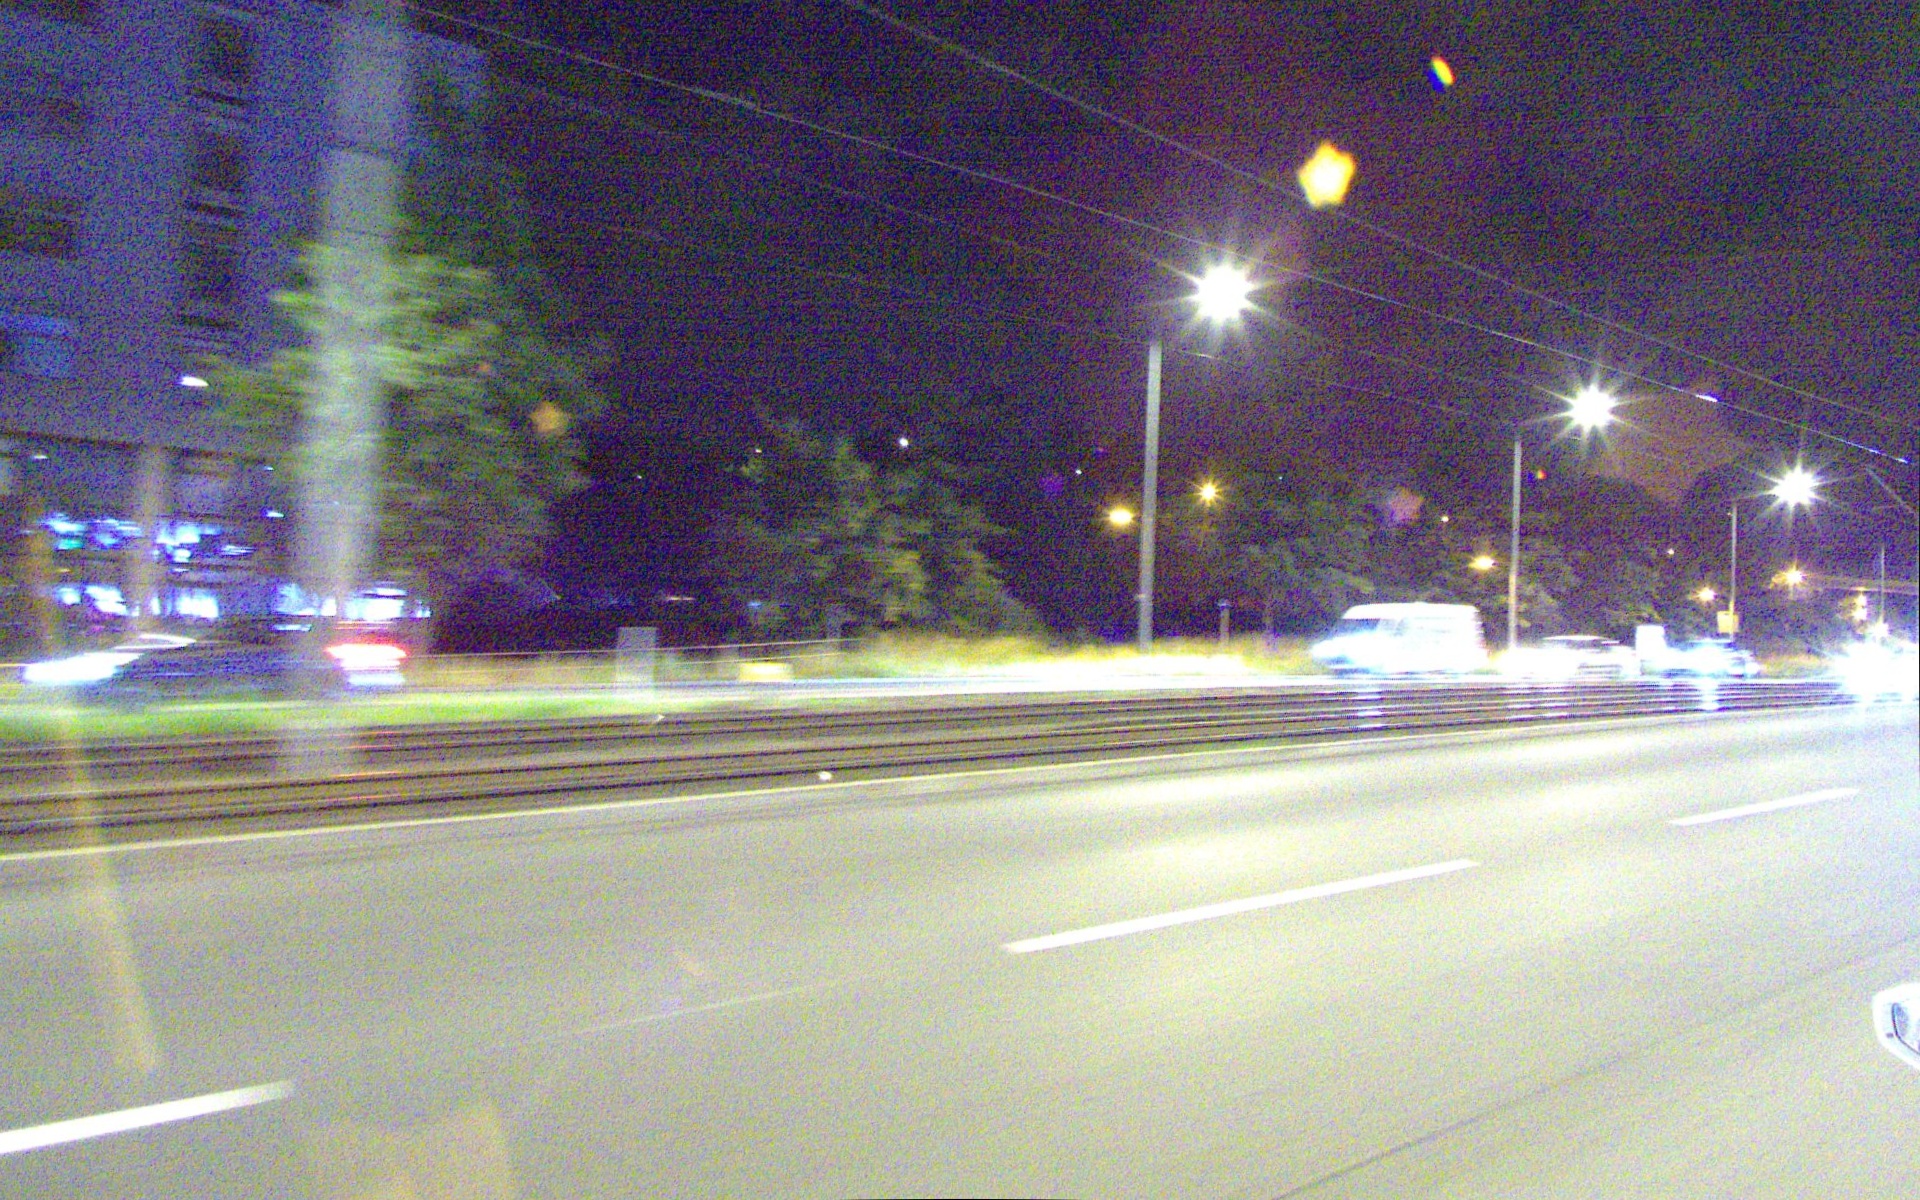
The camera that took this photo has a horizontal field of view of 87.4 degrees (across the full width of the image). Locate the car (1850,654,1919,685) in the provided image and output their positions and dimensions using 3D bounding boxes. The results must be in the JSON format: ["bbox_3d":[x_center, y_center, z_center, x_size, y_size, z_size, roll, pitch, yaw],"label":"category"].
[{"bbox_3d":[48.152,3.591,51.970,4.903,1.448,1.856,2,-1,-33],"label":"car"}]

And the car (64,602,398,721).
[{"bbox_3d":[-11.622,0.960,16.430,4.176,1.736,1.771,2,-1,-30],"label":"car"}]

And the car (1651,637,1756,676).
[{"bbox_3d":[30.462,2.311,41.145,4.561,1.534,1.853,2,-3,-31],"label":"car"}]

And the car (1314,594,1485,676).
[{"bbox_3d":[15.831,1.352,36.038,6.887,2.705,2.134,2,-4,-33],"label":"car"}]

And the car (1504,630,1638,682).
[{"bbox_3d":[18.260,1.680,29.994,4.288,1.458,1.612,2,-3,-31],"label":"car"}]
